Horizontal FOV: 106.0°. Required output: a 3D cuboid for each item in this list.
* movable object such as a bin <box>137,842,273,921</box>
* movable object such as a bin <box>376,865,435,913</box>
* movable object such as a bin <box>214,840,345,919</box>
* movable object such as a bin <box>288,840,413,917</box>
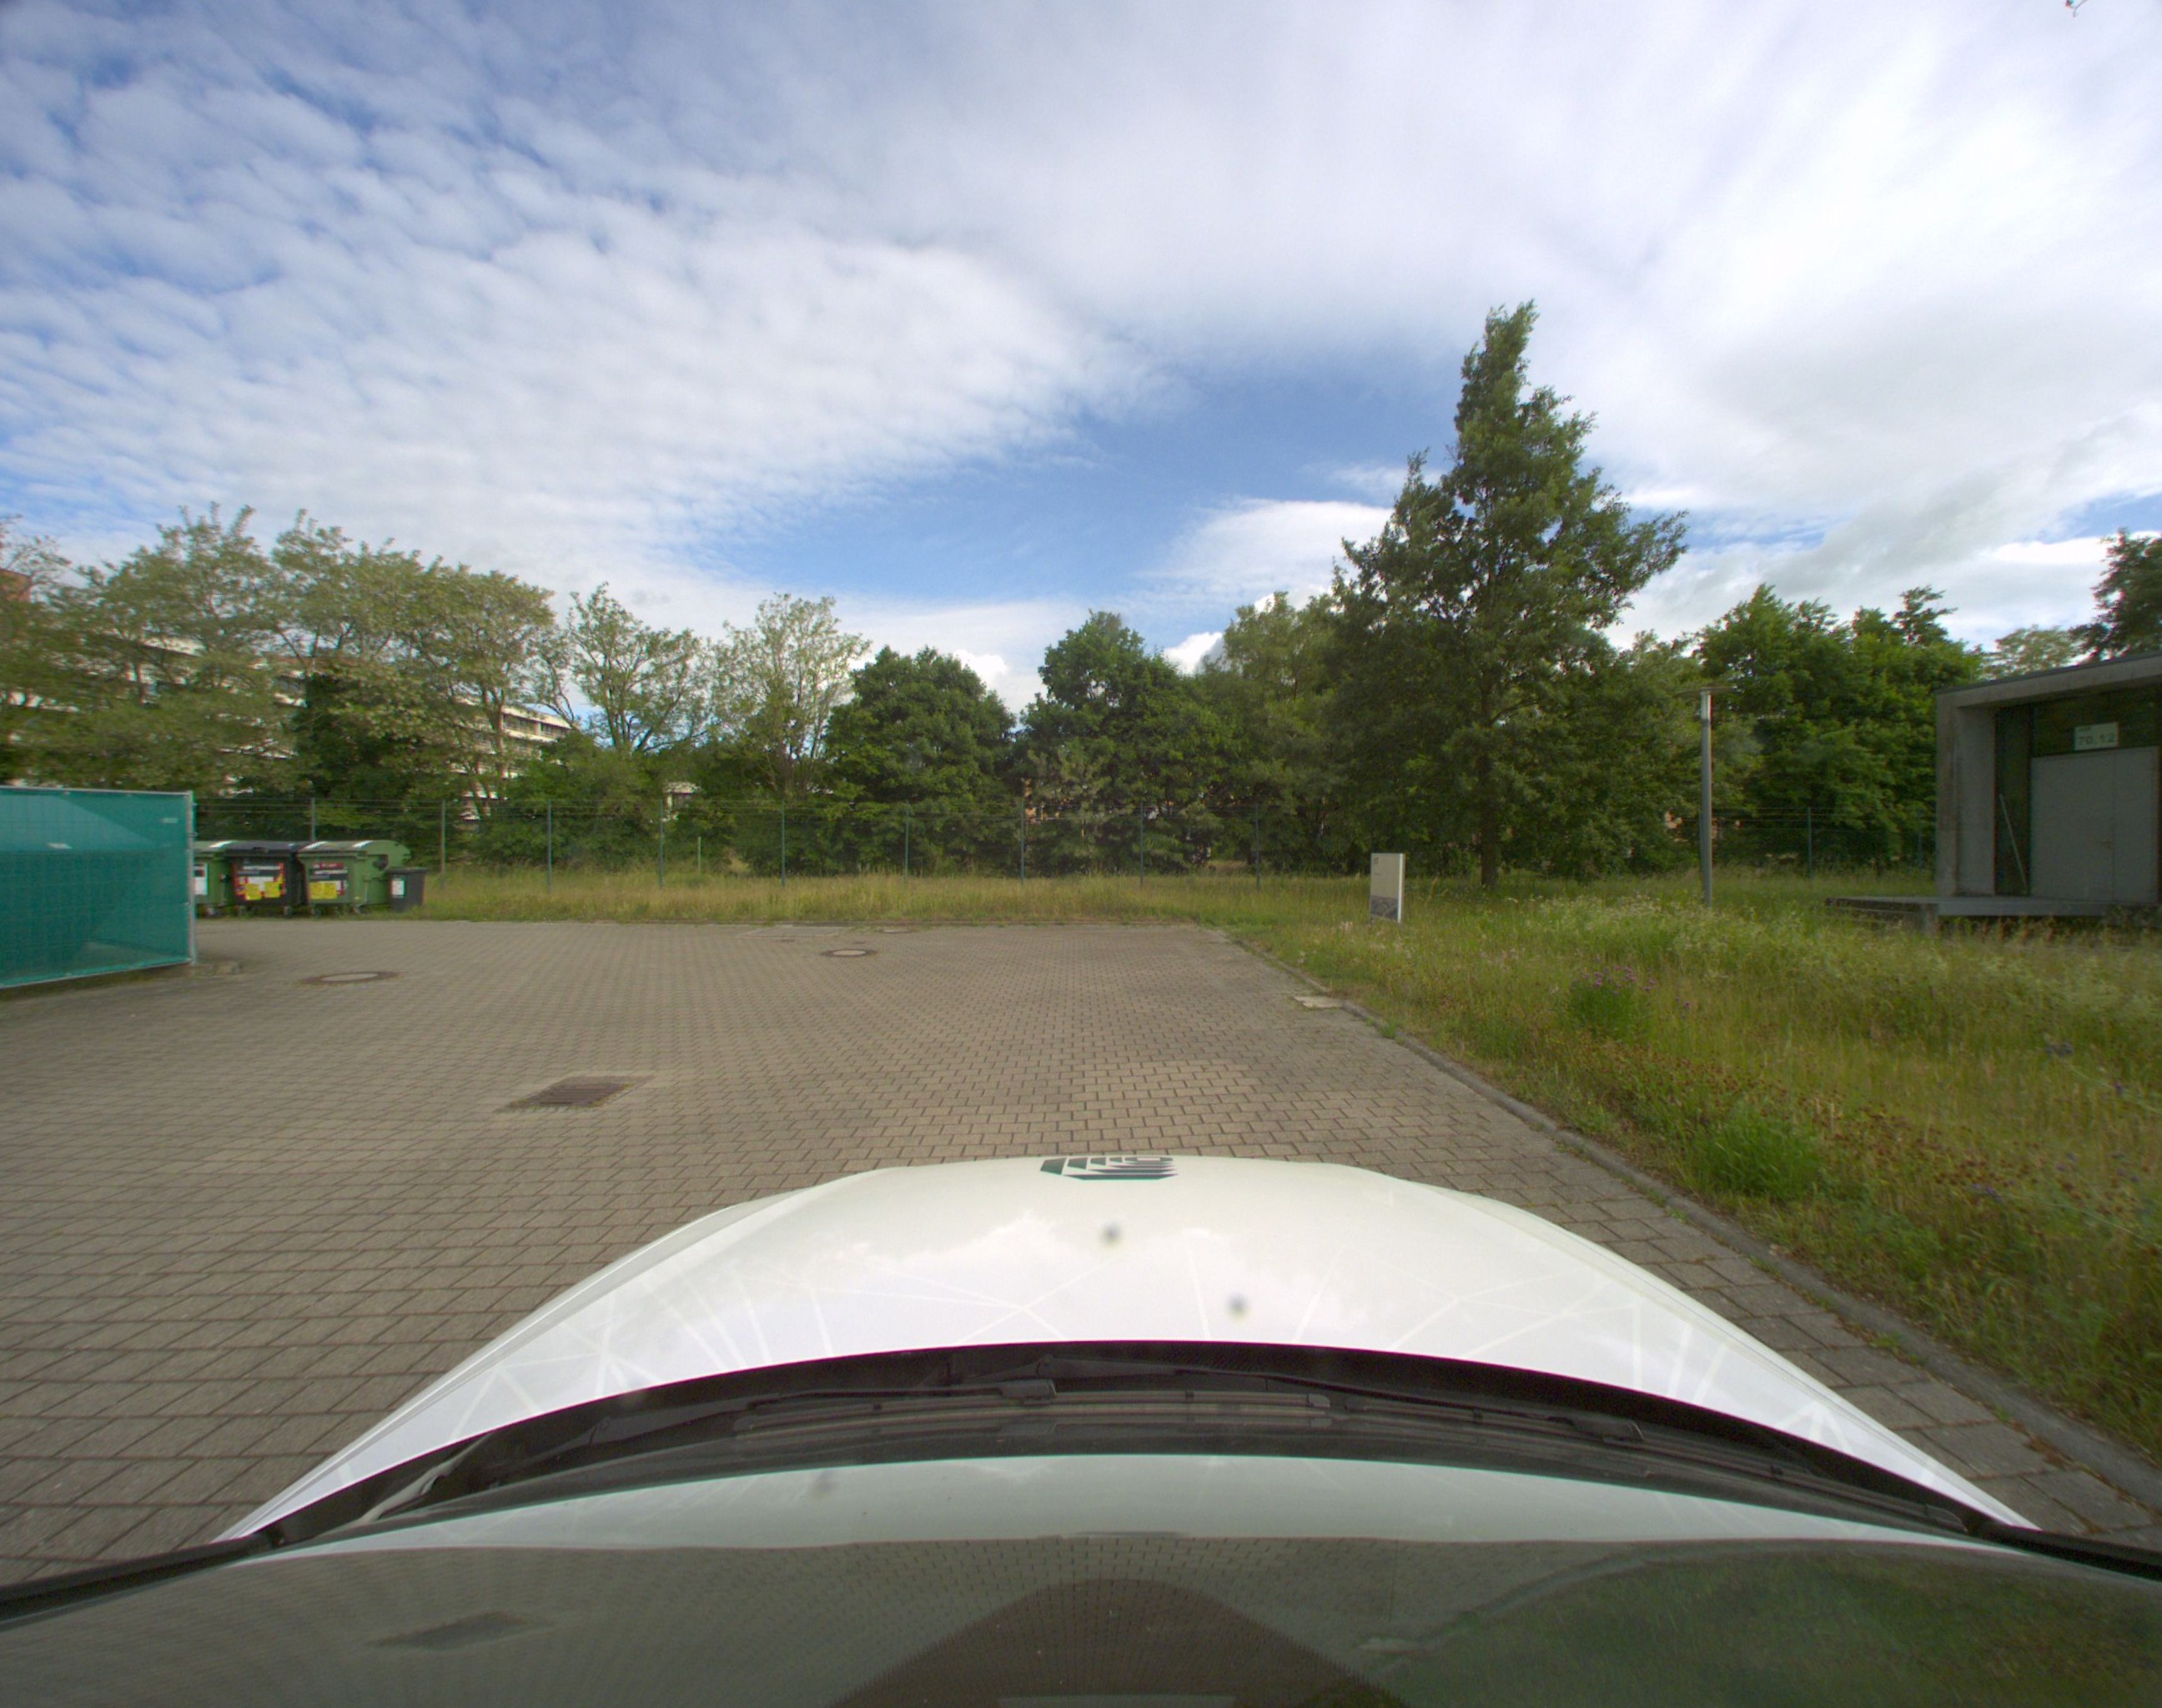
[{"bbox_3d":[-16.427,0.497,15.315,1.375,1.405,1.073,-1,0,2],"label":"movable object such as a bin"},{"bbox_3d":[-12.786,0.658,15.421,0.580,0.866,0.603,-1,0,8],"label":"movable object such as a bin"},{"bbox_3d":[-15.102,0.463,15.388,1.388,1.435,1.073,-1,0,2],"label":"movable object such as a bin"},{"bbox_3d":[-13.755,0.446,15.376,1.344,1.395,1.134,-1,0,8],"label":"movable object such as a bin"}]
